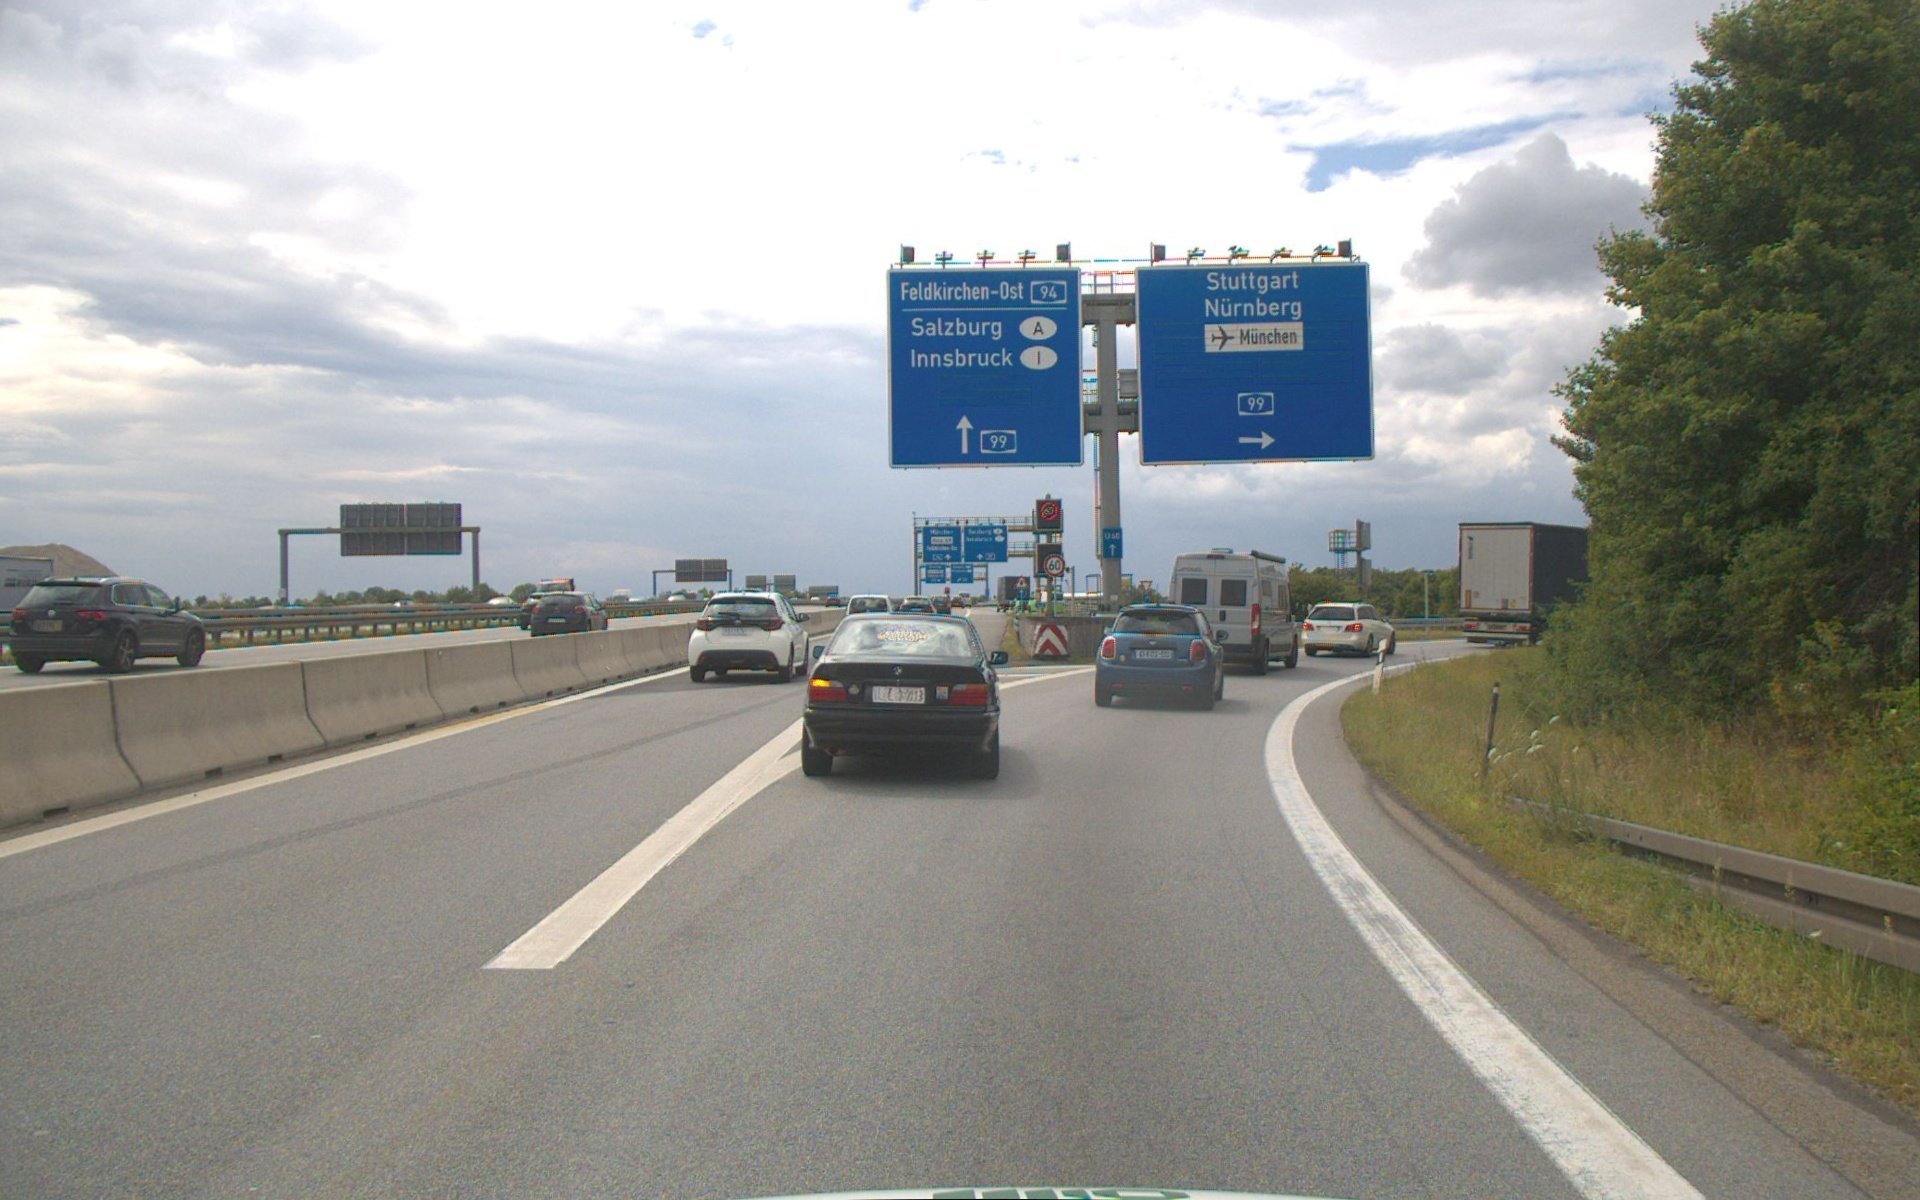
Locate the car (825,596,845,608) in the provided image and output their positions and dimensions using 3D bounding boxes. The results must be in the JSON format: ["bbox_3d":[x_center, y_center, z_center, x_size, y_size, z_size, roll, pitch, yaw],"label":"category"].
[{"bbox_3d":[-15.359,0.232,203.422,1.952,1.494,4.001,0,0,2],"label":"car"}]

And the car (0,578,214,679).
[{"bbox_3d":[-15.300,0.473,29.755,1.862,1.667,4.233,1,0,-1],"label":"car"}]

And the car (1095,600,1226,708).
[{"bbox_3d":[3.043,0.736,24.543,1.692,1.444,3.669,1,0,10],"label":"car"}]

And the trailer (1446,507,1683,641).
[{"bbox_3d":[21.674,-0.805,58.600,3.283,4.266,12.951,0,0,42],"label":"trailer"}]

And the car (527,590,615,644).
[{"bbox_3d":[-11.642,0.473,49.758,1.738,1.557,3.999,0,0,-1],"label":"car"}]

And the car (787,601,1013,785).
[{"bbox_3d":[-0.444,0.722,14.822,1.745,1.402,4.137,0,0,0],"label":"car"}]

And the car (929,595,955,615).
[{"bbox_3d":[-1.295,0.357,121.235,1.828,1.449,4.000,0,0,1],"label":"car"}]

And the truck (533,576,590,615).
[{"bbox_3d":[-25.337,-0.280,105.453,2.230,2.411,6.199,0,0,-1],"label":"truck"}]

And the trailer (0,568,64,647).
[{"bbox_3d":[-41.873,0.297,70.025,3.134,3.326,9.816,0,0,-4],"label":"trailer"}]

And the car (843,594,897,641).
[{"bbox_3d":[-2.954,0.546,54.650,1.552,1.510,3.535,0,0,0],"label":"car"}]

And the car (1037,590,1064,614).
[{"bbox_3d":[7.645,0.152,139.912,1.953,2.049,3.999,0,0,-2],"label":"car"}]

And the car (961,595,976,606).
[{"bbox_3d":[1.109,0.036,214.910,1.766,1.449,4.001,0,0,2],"label":"car"}]

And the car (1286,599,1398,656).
[{"bbox_3d":[10.995,0.746,47.364,2.162,1.527,4.783,0,0,25],"label":"car"}]

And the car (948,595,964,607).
[{"bbox_3d":[-0.424,0.133,193.135,1.766,1.449,4.001,0,0,2],"label":"car"}]

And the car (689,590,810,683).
[{"bbox_3d":[-3.629,0.595,29.124,1.666,1.534,3.840,0,0,0],"label":"car"}]

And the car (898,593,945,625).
[{"bbox_3d":[-1.829,0.405,80.055,1.952,1.494,4.002,0,0,3],"label":"car"}]

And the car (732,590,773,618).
[{"bbox_3d":[-12.958,0.224,103.735,1.953,1.713,4.866,0,0,0],"label":"car"}]

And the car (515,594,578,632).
[{"bbox_3d":[-16.149,0.491,64.746,1.521,1.400,3.999,1,0,-1],"label":"car"}]

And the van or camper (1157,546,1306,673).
[{"bbox_3d":[6.236,0.177,37.304,2.246,2.613,6.162,0,0,20],"label":"van or camper"}]
